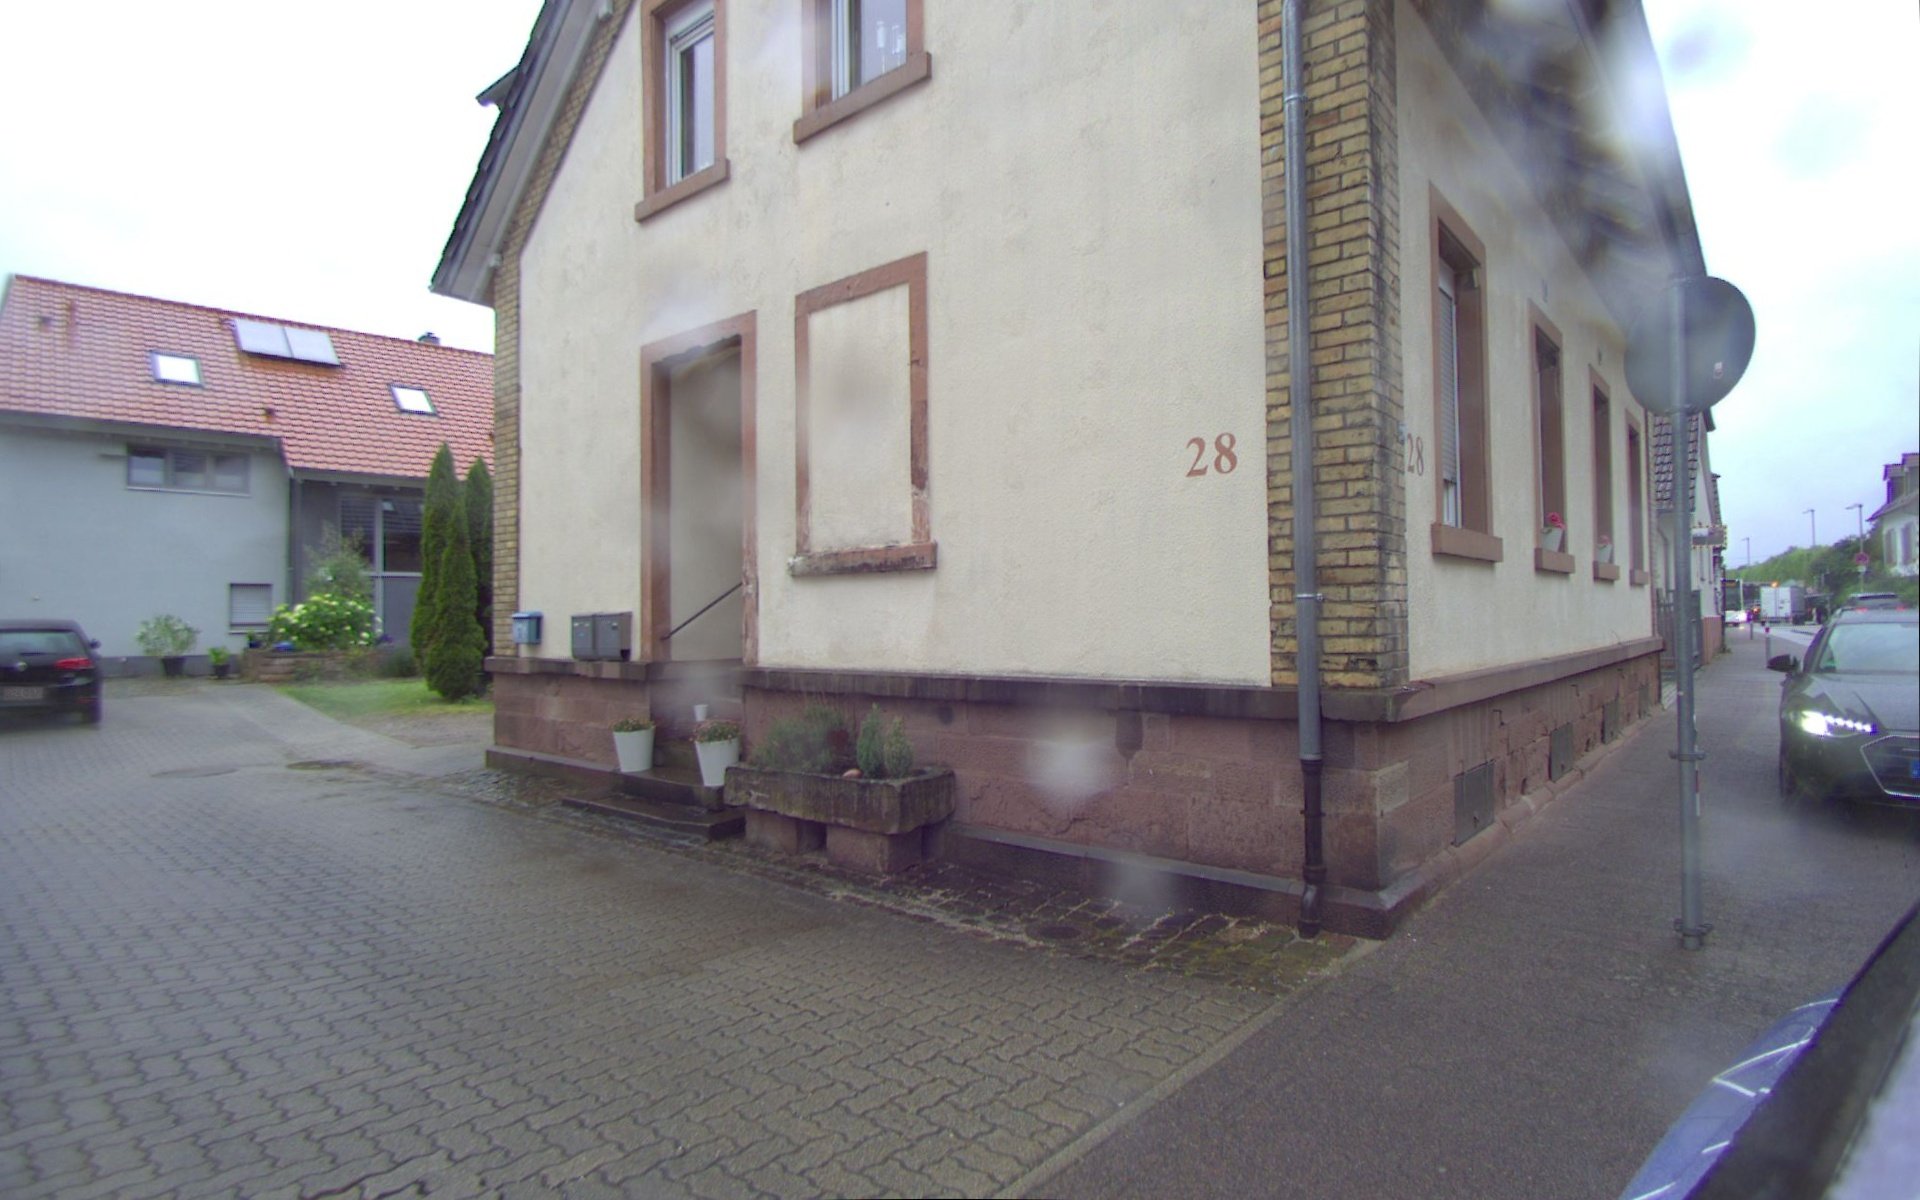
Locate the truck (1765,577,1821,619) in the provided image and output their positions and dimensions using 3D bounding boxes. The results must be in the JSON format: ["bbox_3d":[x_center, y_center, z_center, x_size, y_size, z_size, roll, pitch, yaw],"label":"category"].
[{"bbox_3d":[52.544,-0.172,63.780,5.554,2.536,1.996,-1,0,-43],"label":"truck"}]

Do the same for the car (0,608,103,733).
[{"bbox_3d":[-13.952,0.951,15.111,1.655,1.491,3.993,0,2,-42],"label":"car"}]

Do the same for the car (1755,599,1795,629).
[{"bbox_3d":[58.627,0.967,72.822,1.987,2.039,3.949,0,0,36],"label":"car"}]

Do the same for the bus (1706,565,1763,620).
[{"bbox_3d":[50.124,-0.523,65.706,2.654,3.273,12.032,0,0,36],"label":"bus"}]

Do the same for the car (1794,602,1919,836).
[{"bbox_3d":[7.362,0.731,7.541,1.732,1.388,4.044,0,0,39],"label":"car"}]

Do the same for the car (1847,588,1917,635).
[{"bbox_3d":[36.179,0.424,39.801,1.777,1.686,4.363,-3,-1,40],"label":"car"}]

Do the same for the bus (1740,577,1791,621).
[{"bbox_3d":[64.275,-0.140,80.913,2.654,3.273,12.032,0,0,36],"label":"bus"}]
